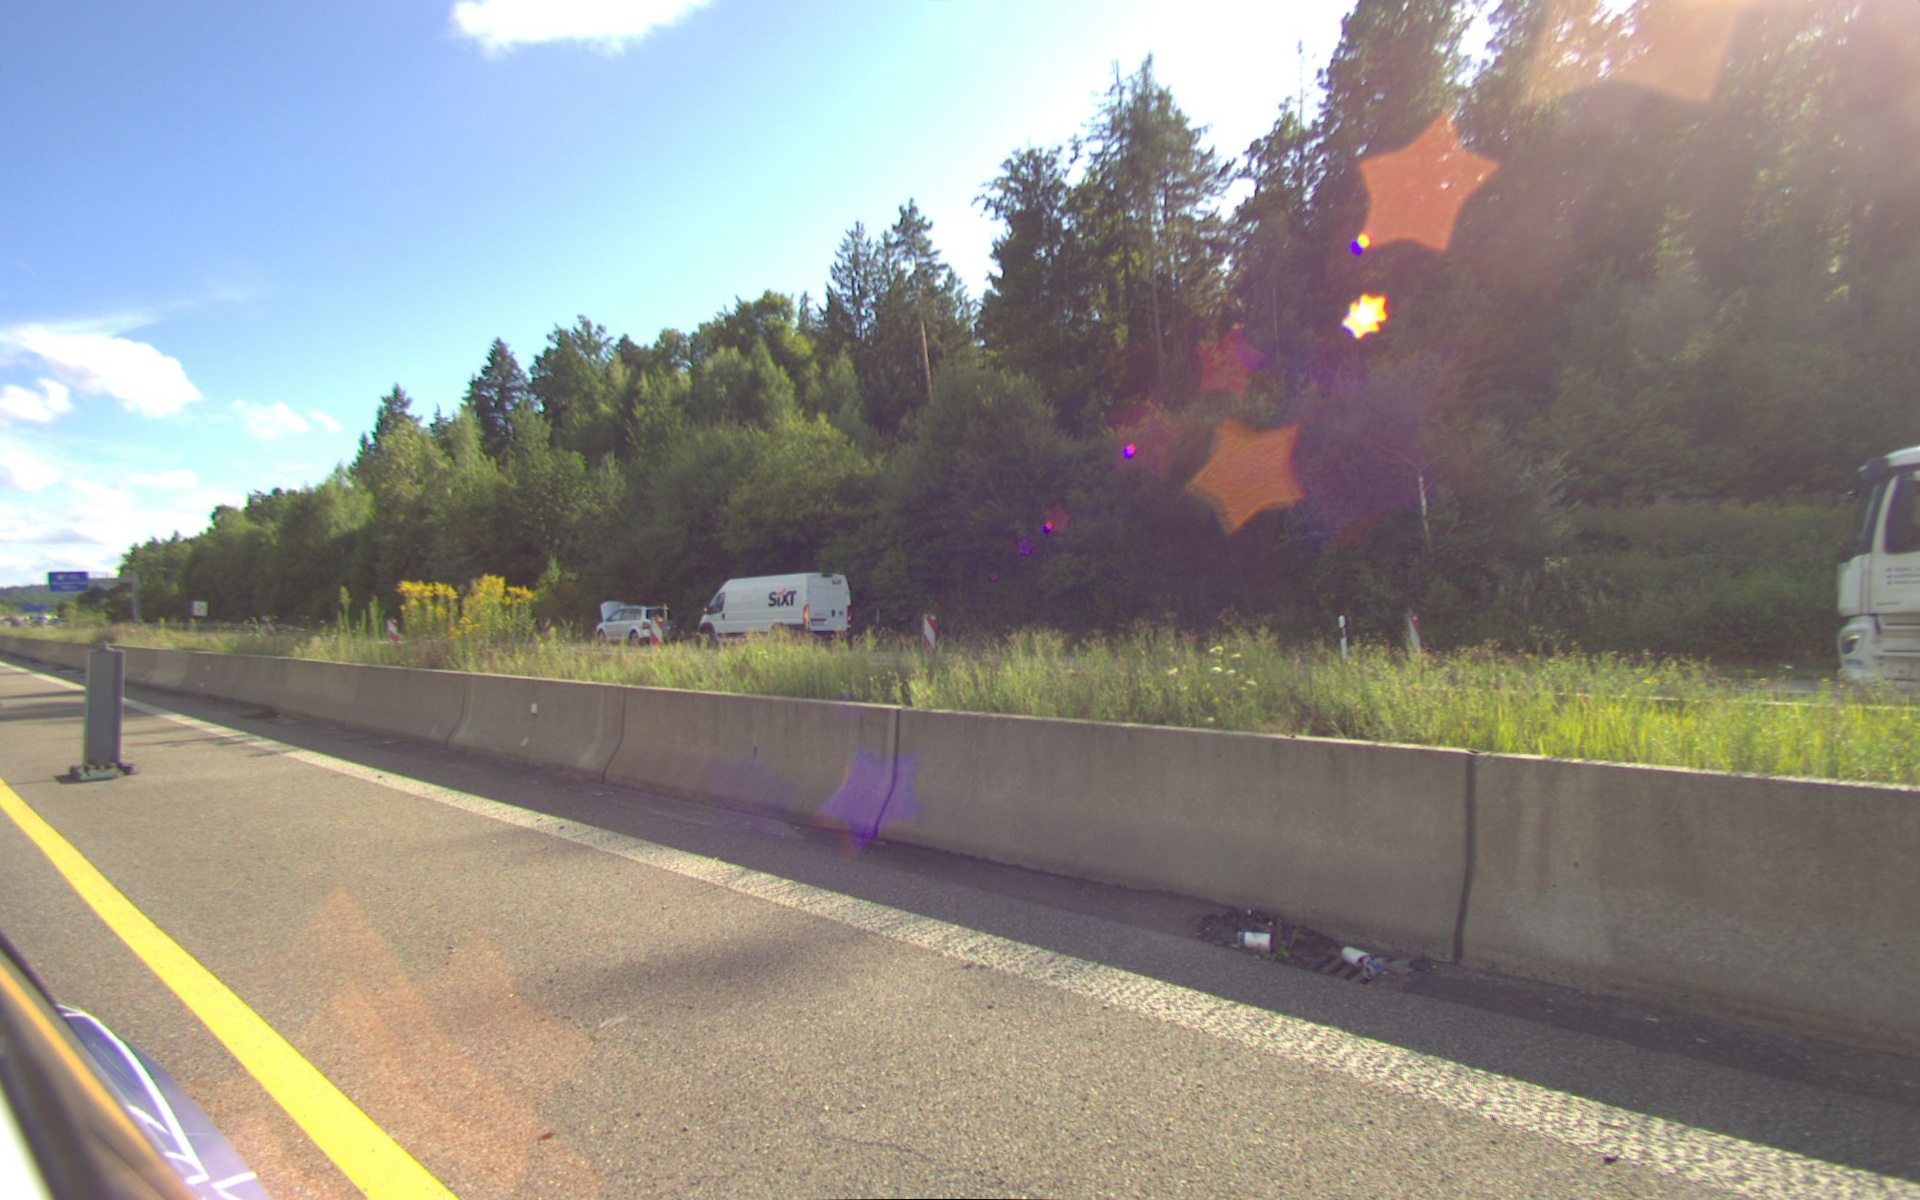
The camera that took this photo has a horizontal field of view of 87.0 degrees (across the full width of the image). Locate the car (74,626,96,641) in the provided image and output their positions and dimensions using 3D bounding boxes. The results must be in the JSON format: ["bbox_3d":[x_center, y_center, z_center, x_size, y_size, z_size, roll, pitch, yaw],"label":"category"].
[{"bbox_3d":[-116.075,4.447,134.207,4.365,1.799,1.759,-1,0,43],"label":"car"}]

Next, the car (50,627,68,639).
[{"bbox_3d":[-146.492,5.345,164.478,4.365,1.799,1.759,-1,0,43],"label":"car"}]

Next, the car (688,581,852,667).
[{"bbox_3d":[-6.614,0.779,34.595,6.522,2.705,2.006,-1,0,43],"label":"car"}]

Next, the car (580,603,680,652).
[{"bbox_3d":[-13.719,1.115,41.959,4.761,1.867,1.840,-1,0,43],"label":"car"}]

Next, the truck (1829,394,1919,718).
[{"bbox_3d":[12.633,-0.513,10.831,4.939,3.516,2.755,-1,0,43],"label":"truck"}]
